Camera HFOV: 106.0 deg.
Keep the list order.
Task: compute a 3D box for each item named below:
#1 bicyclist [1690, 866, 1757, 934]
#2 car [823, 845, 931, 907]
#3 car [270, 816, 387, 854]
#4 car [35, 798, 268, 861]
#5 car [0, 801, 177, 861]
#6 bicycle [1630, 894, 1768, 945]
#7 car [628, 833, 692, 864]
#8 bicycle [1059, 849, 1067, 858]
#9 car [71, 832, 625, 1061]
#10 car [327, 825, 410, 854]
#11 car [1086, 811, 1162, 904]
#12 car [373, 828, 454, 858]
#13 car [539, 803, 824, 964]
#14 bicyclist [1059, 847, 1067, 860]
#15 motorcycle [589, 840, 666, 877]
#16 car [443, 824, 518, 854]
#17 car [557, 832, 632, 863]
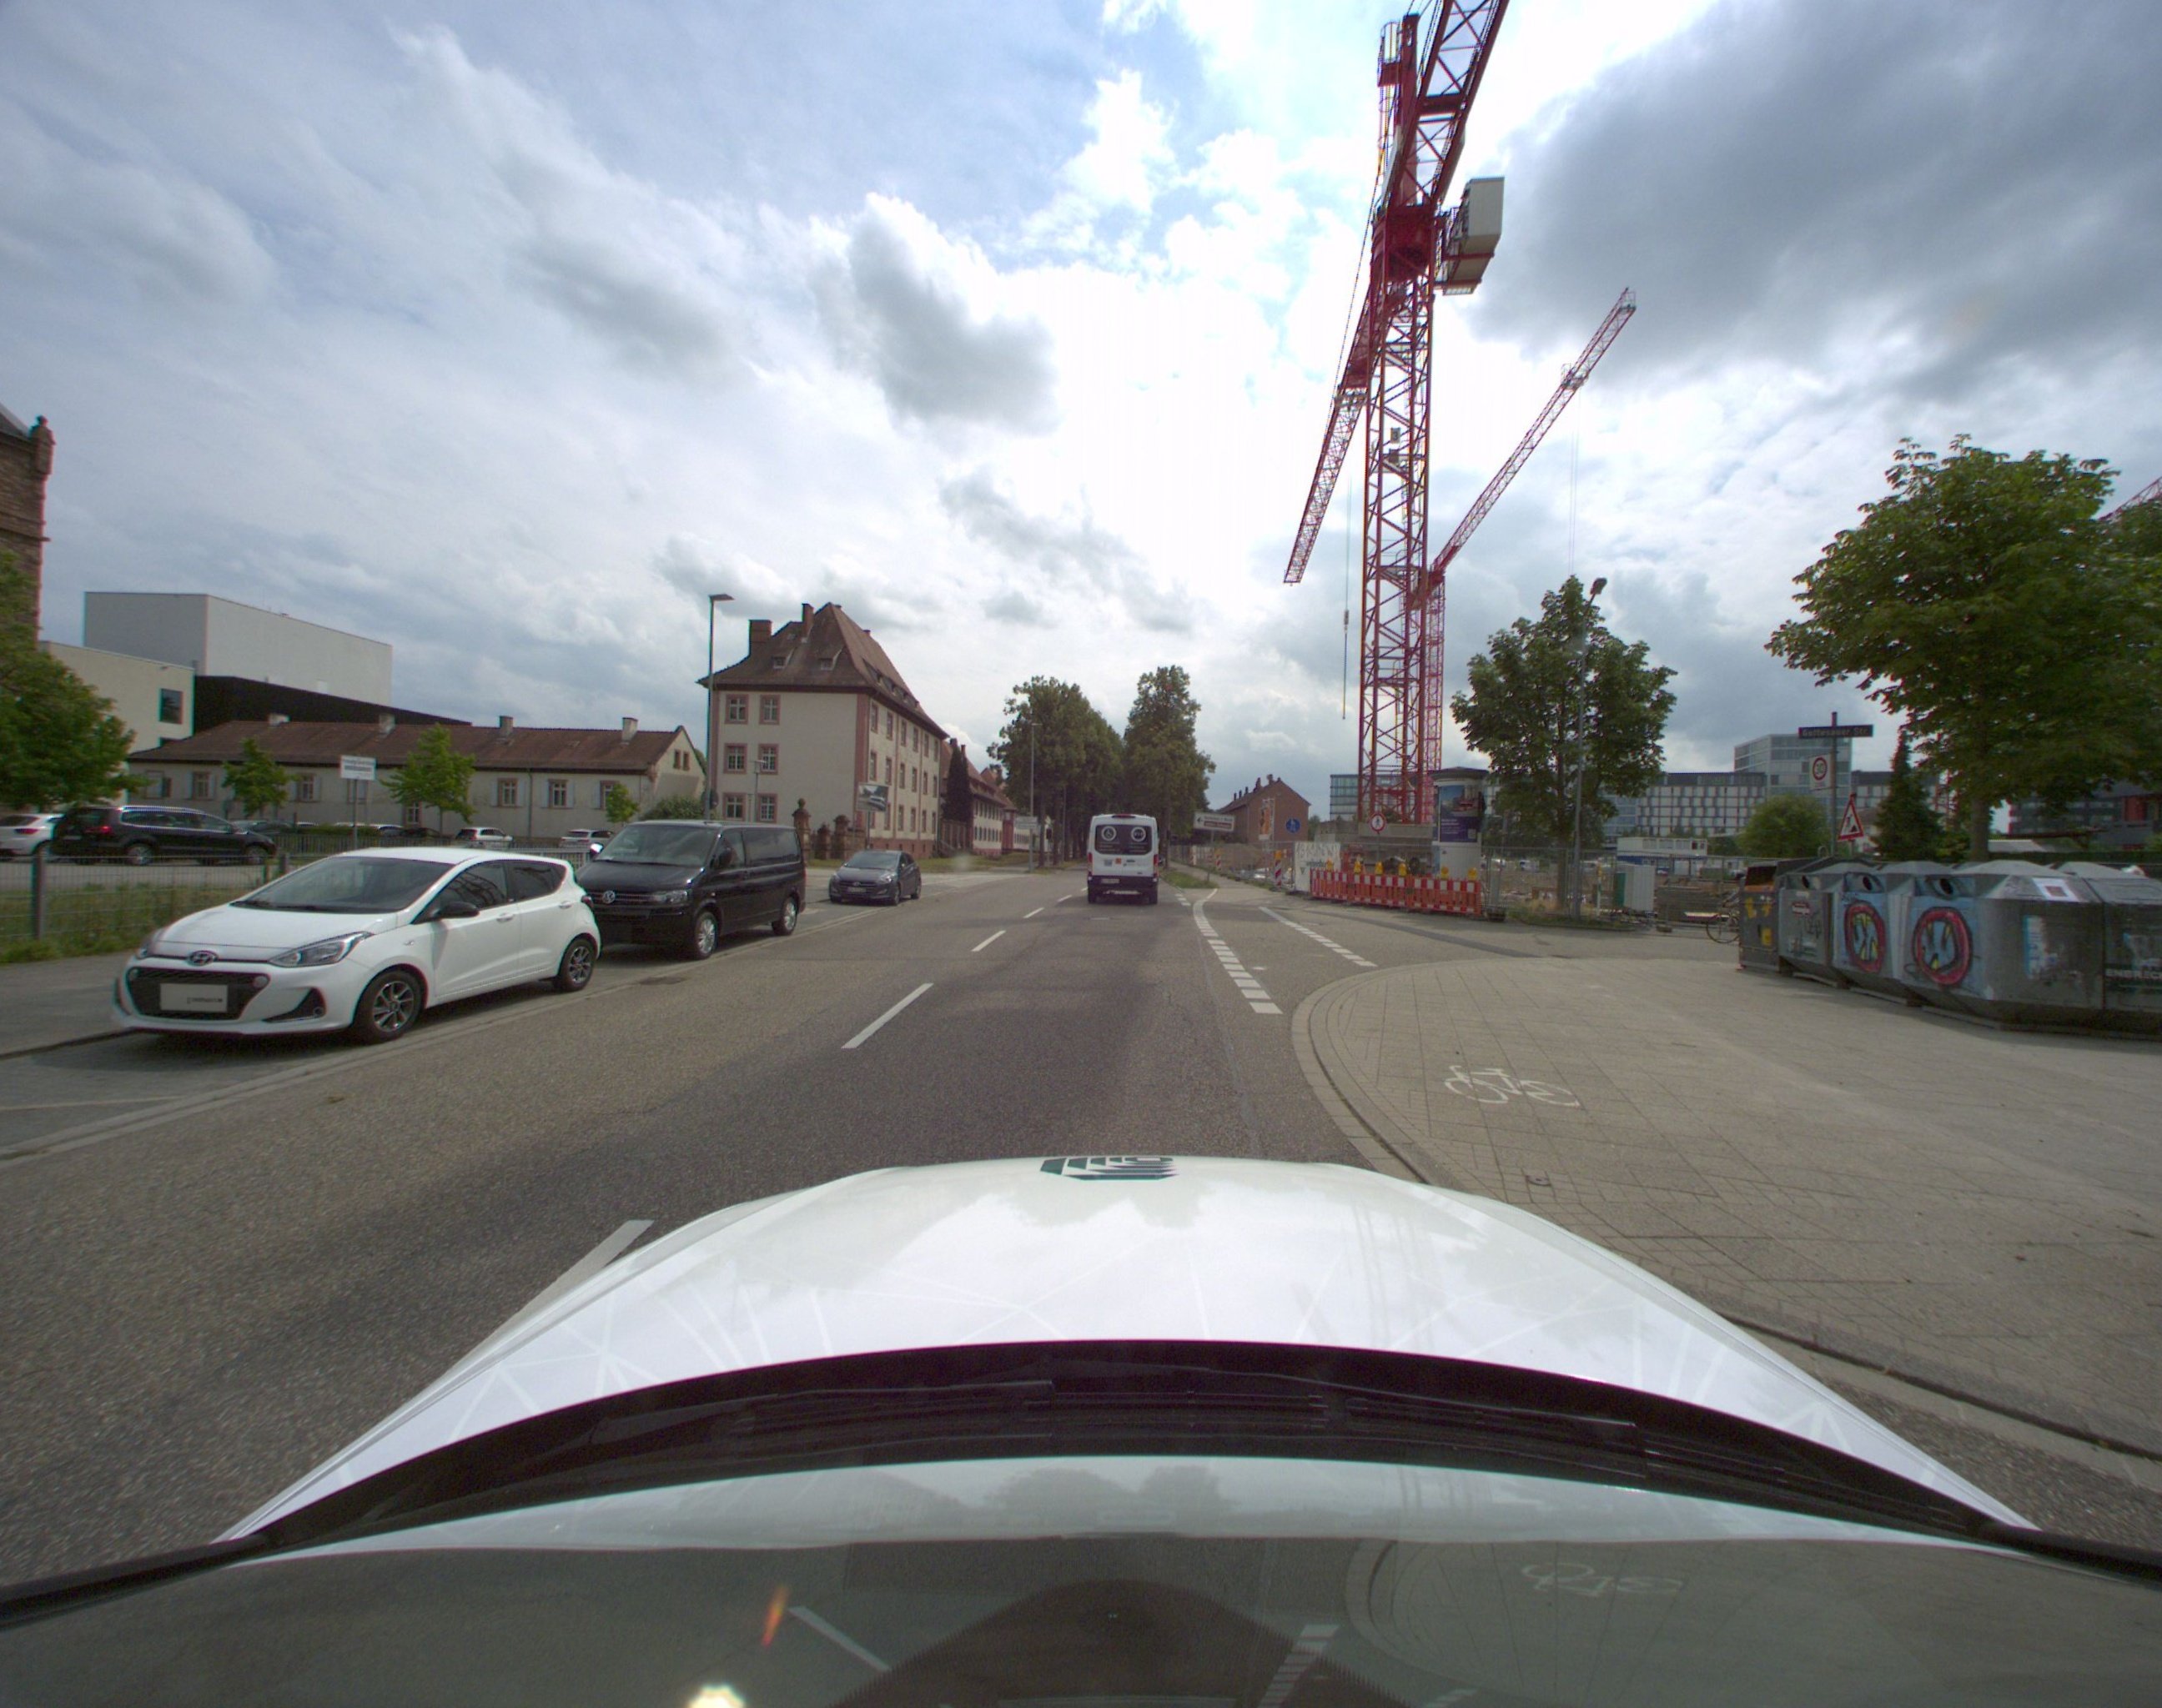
[{"bbox_3d":[14.516,1.010,18.427,1.067,1.412,0.719,5,2,35],"label":"bicyclist"},{"bbox_3d":[-5.689,0.563,23.268,1.816,1.473,4.298,4,0,1],"label":"car"},{"bbox_3d":[-36.916,-0.914,40.120,1.576,1.711,4.174,2,1,6],"label":"car"},{"bbox_3d":[-27.514,-0.644,24.380,1.956,1.656,4.237,2,-1,2],"label":"car"},{"bbox_3d":[-30.565,-0.646,24.447,1.956,1.656,4.237,2,-1,2],"label":"car"},{"bbox_3d":[14.107,1.475,18.699,2.448,0.933,0.719,3,1,35],"label":"bicycle"},{"bbox_3d":[-25.793,-0.360,50.023,1.759,1.710,3.701,2,2,4],"label":"car"},{"bbox_3d":[-2.217,-0.054,102.030,0.720,1.095,2.153,6,0,3],"label":"bicycle"},{"bbox_3d":[-6.180,0.633,7.579,1.648,1.529,3.765,3,0,0],"label":"car"},{"bbox_3d":[-44.429,-0.934,50.867,1.759,1.710,3.701,2,2,4],"label":"car"},{"bbox_3d":[1.190,0.112,24.278,2.056,2.540,3.999,0,0,0],"label":"car"},{"bbox_3d":[-41.254,-0.740,50.438,1.759,1.710,3.701,2,2,4],"label":"car"},{"bbox_3d":[-6.008,0.371,13.101,1.941,2.004,4.846,3,0,2],"label":"car"},{"bbox_3d":[-2.223,-0.068,102.048,0.720,1.656,0.959,6,0,3],"label":"bicyclist"},{"bbox_3d":[-14.328,0.136,25.741,2.079,1.142,0.726,0,-1,7],"label":"motorcycle"},{"bbox_3d":[-37.391,-0.971,50.858,1.759,1.710,3.701,2,2,4],"label":"car"},{"bbox_3d":[-29.819,-0.449,50.050,1.759,1.710,4.296,2,2,4],"label":"car"}]
